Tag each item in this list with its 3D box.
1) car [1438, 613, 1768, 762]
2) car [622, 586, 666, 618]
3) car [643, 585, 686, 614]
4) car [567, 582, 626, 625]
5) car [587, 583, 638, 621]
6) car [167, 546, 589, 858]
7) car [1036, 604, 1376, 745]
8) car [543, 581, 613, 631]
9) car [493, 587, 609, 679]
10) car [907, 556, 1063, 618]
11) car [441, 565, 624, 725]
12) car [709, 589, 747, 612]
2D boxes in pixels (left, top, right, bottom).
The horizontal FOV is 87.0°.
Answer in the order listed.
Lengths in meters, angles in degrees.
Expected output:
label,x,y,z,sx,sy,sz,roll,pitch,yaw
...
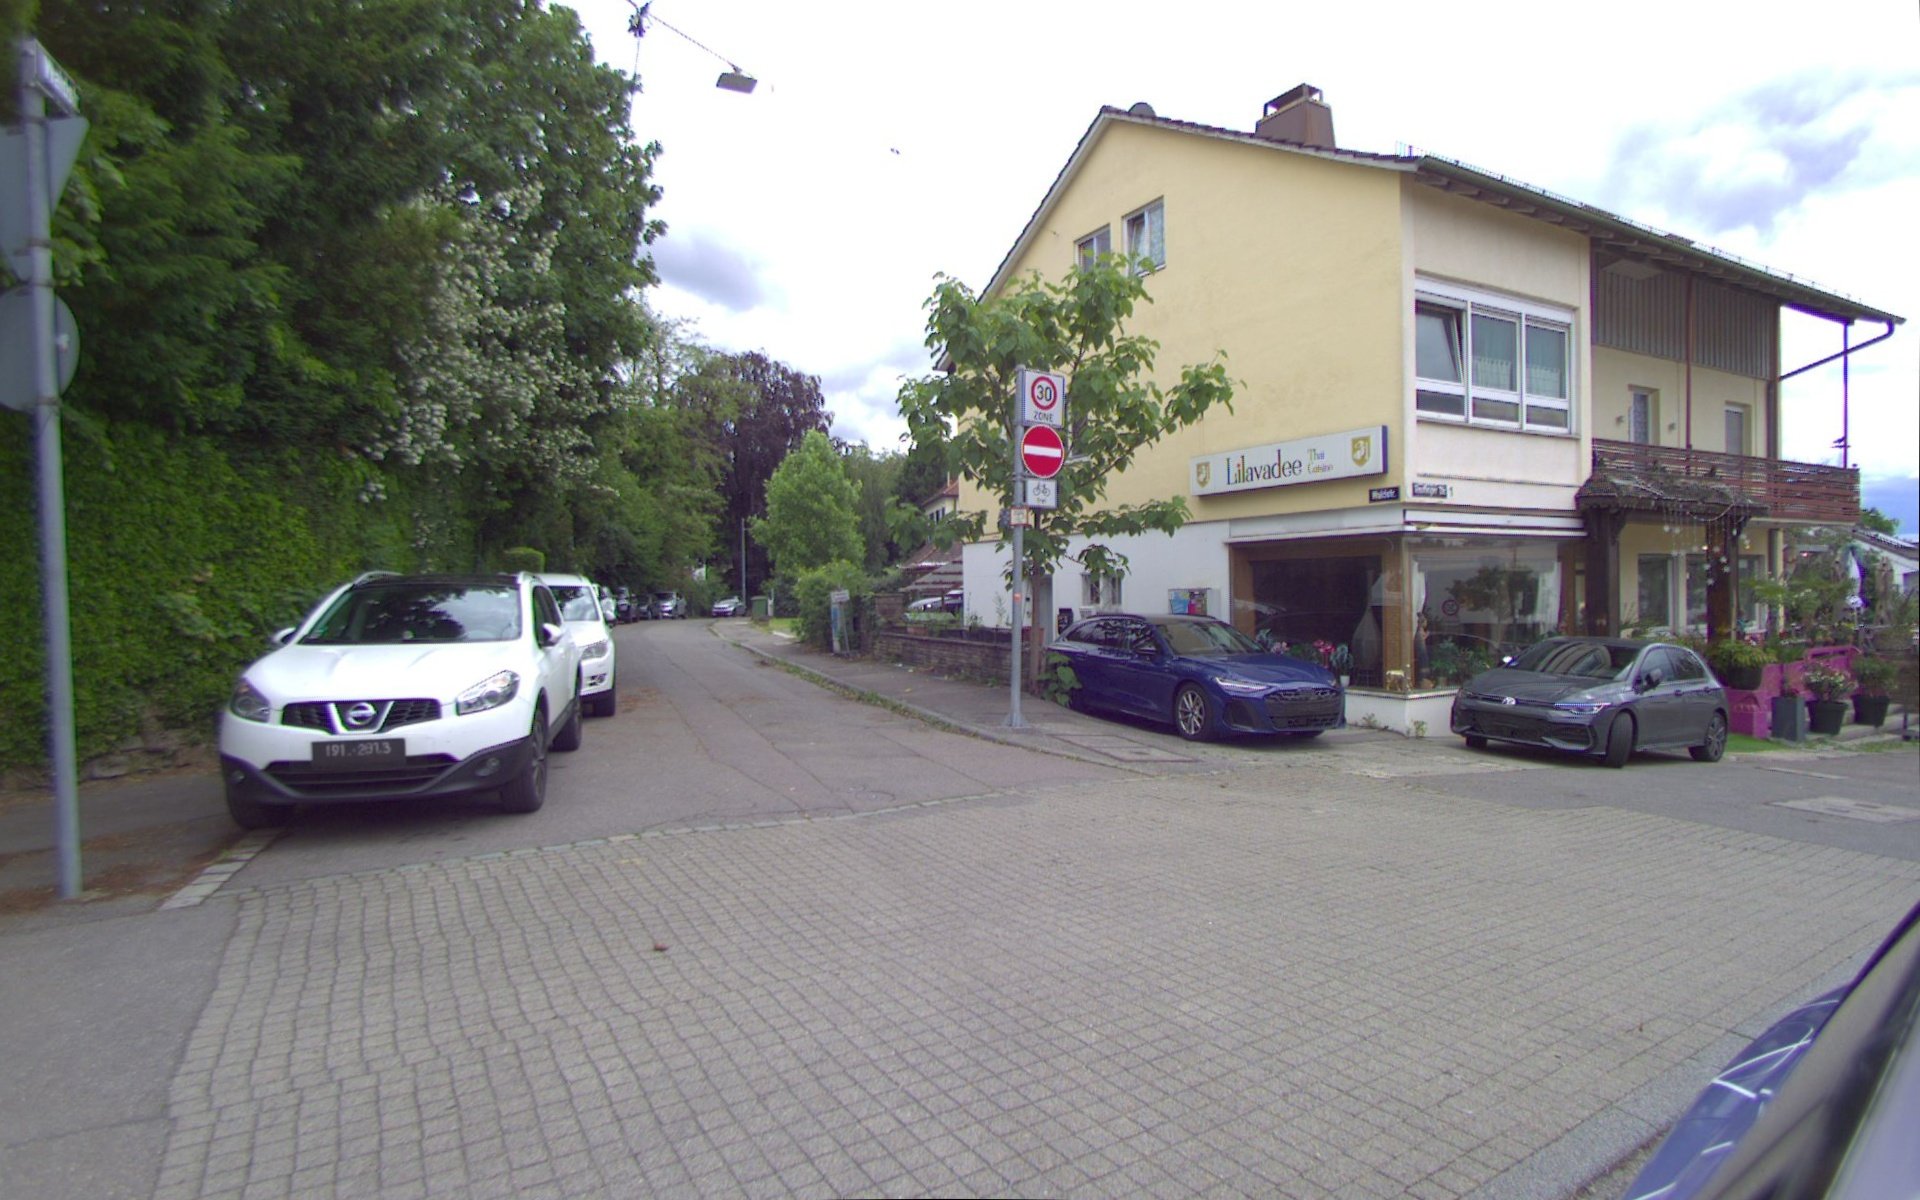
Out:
label,x,y,z,sx,sy,sz,roll,pitch,yaw
car,7.934,1.063,12.370,4.242,1.480,1.800,5,-2,-34
car,-15.930,0.073,51.108,1.542,1.502,3.479,-1,1,-8
car,-16.254,-0.042,55.790,1.543,1.502,3.476,0,1,-3
car,-13.435,0.103,37.542,1.542,1.502,3.481,-1,1,-11
car,-14.219,0.044,41.522,1.542,1.502,3.481,-1,1,-11
car,-3.876,0.506,7.551,1.761,1.643,4.144,-1,1,-16
car,2.905,0.826,13.208,1.761,1.405,4.758,2,0,-23
car,-12.228,0.137,32.588,1.542,1.502,3.745,-1,1,-11
car,-7.379,0.501,18.496,1.761,1.441,4.080,-1,1,-20
car,0.730,-0.370,30.392,4.235,1.480,1.802,4,-2,-19
car,-5.186,0.433,12.606,1.761,1.643,4.080,-1,1,-20
car,-16.362,0.027,71.453,1.547,1.502,3.468,0,1,7
